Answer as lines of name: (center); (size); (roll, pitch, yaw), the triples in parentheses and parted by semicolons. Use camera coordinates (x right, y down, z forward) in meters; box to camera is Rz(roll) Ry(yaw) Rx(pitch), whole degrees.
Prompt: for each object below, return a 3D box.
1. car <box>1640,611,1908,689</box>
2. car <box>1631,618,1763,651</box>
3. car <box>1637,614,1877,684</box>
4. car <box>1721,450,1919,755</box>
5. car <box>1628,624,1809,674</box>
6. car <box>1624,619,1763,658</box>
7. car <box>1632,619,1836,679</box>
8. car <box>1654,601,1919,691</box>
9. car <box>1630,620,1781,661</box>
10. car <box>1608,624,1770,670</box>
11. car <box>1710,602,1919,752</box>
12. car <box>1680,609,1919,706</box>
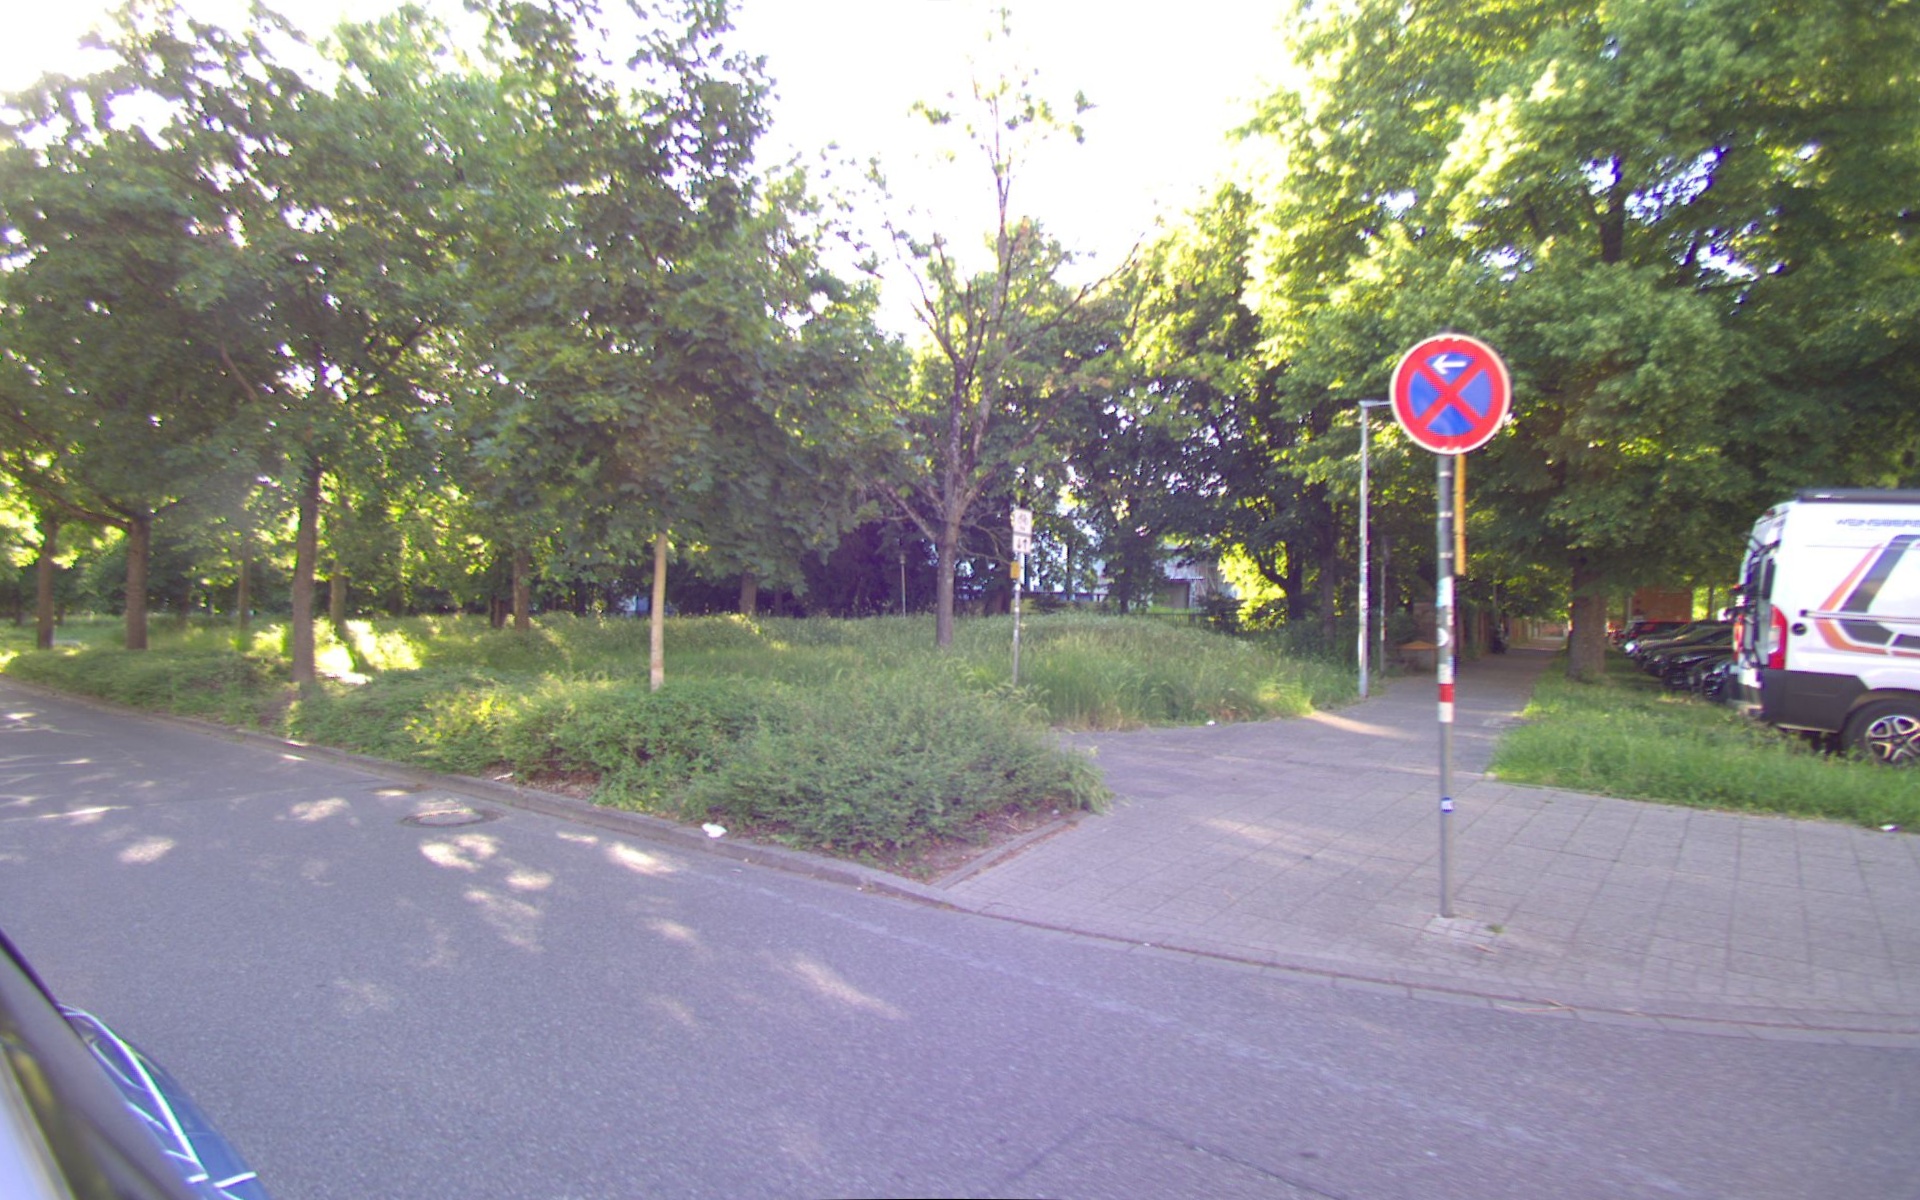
car: (15.913, 0.920, 20.088); (3.867, 1.388, 1.958); (0, 0, 31)
car: (27.989, 1.284, 38.584); (3.867, 1.164, 1.767); (0, 0, 31)
car: (17.205, 1.006, 22.132); (3.867, 1.388, 1.958); (0, 0, 31)
car: (10.301, 0.013, 8.818); (5.611, 2.634, 2.215); (0, 0, 31)
car: (21.174, 1.339, 28.447); (3.867, 1.266, 1.767); (0, 0, 31)
car: (26.165, 1.350, 36.271); (3.867, 1.266, 1.767); (0, 0, 31)
car: (19.494, 1.193, 25.727); (3.867, 1.388, 1.958); (0, 0, 31)
car: (14.810, 0.781, 18.045); (3.867, 1.453, 1.958); (-1, -2, 31)
car: (24.715, 1.316, 33.734); (3.867, 1.266, 1.767); (0, 0, 31)
car: (22.277, 1.404, 31.140); (3.867, 1.266, 1.767); (0, 0, 31)
car: (11.227, 0.821, 11.370); (4.284, 1.587, 1.958); (0, 0, 31)
car: (13.491, 0.821, 15.457); (3.867, 1.352, 1.958); (0, 0, 31)
